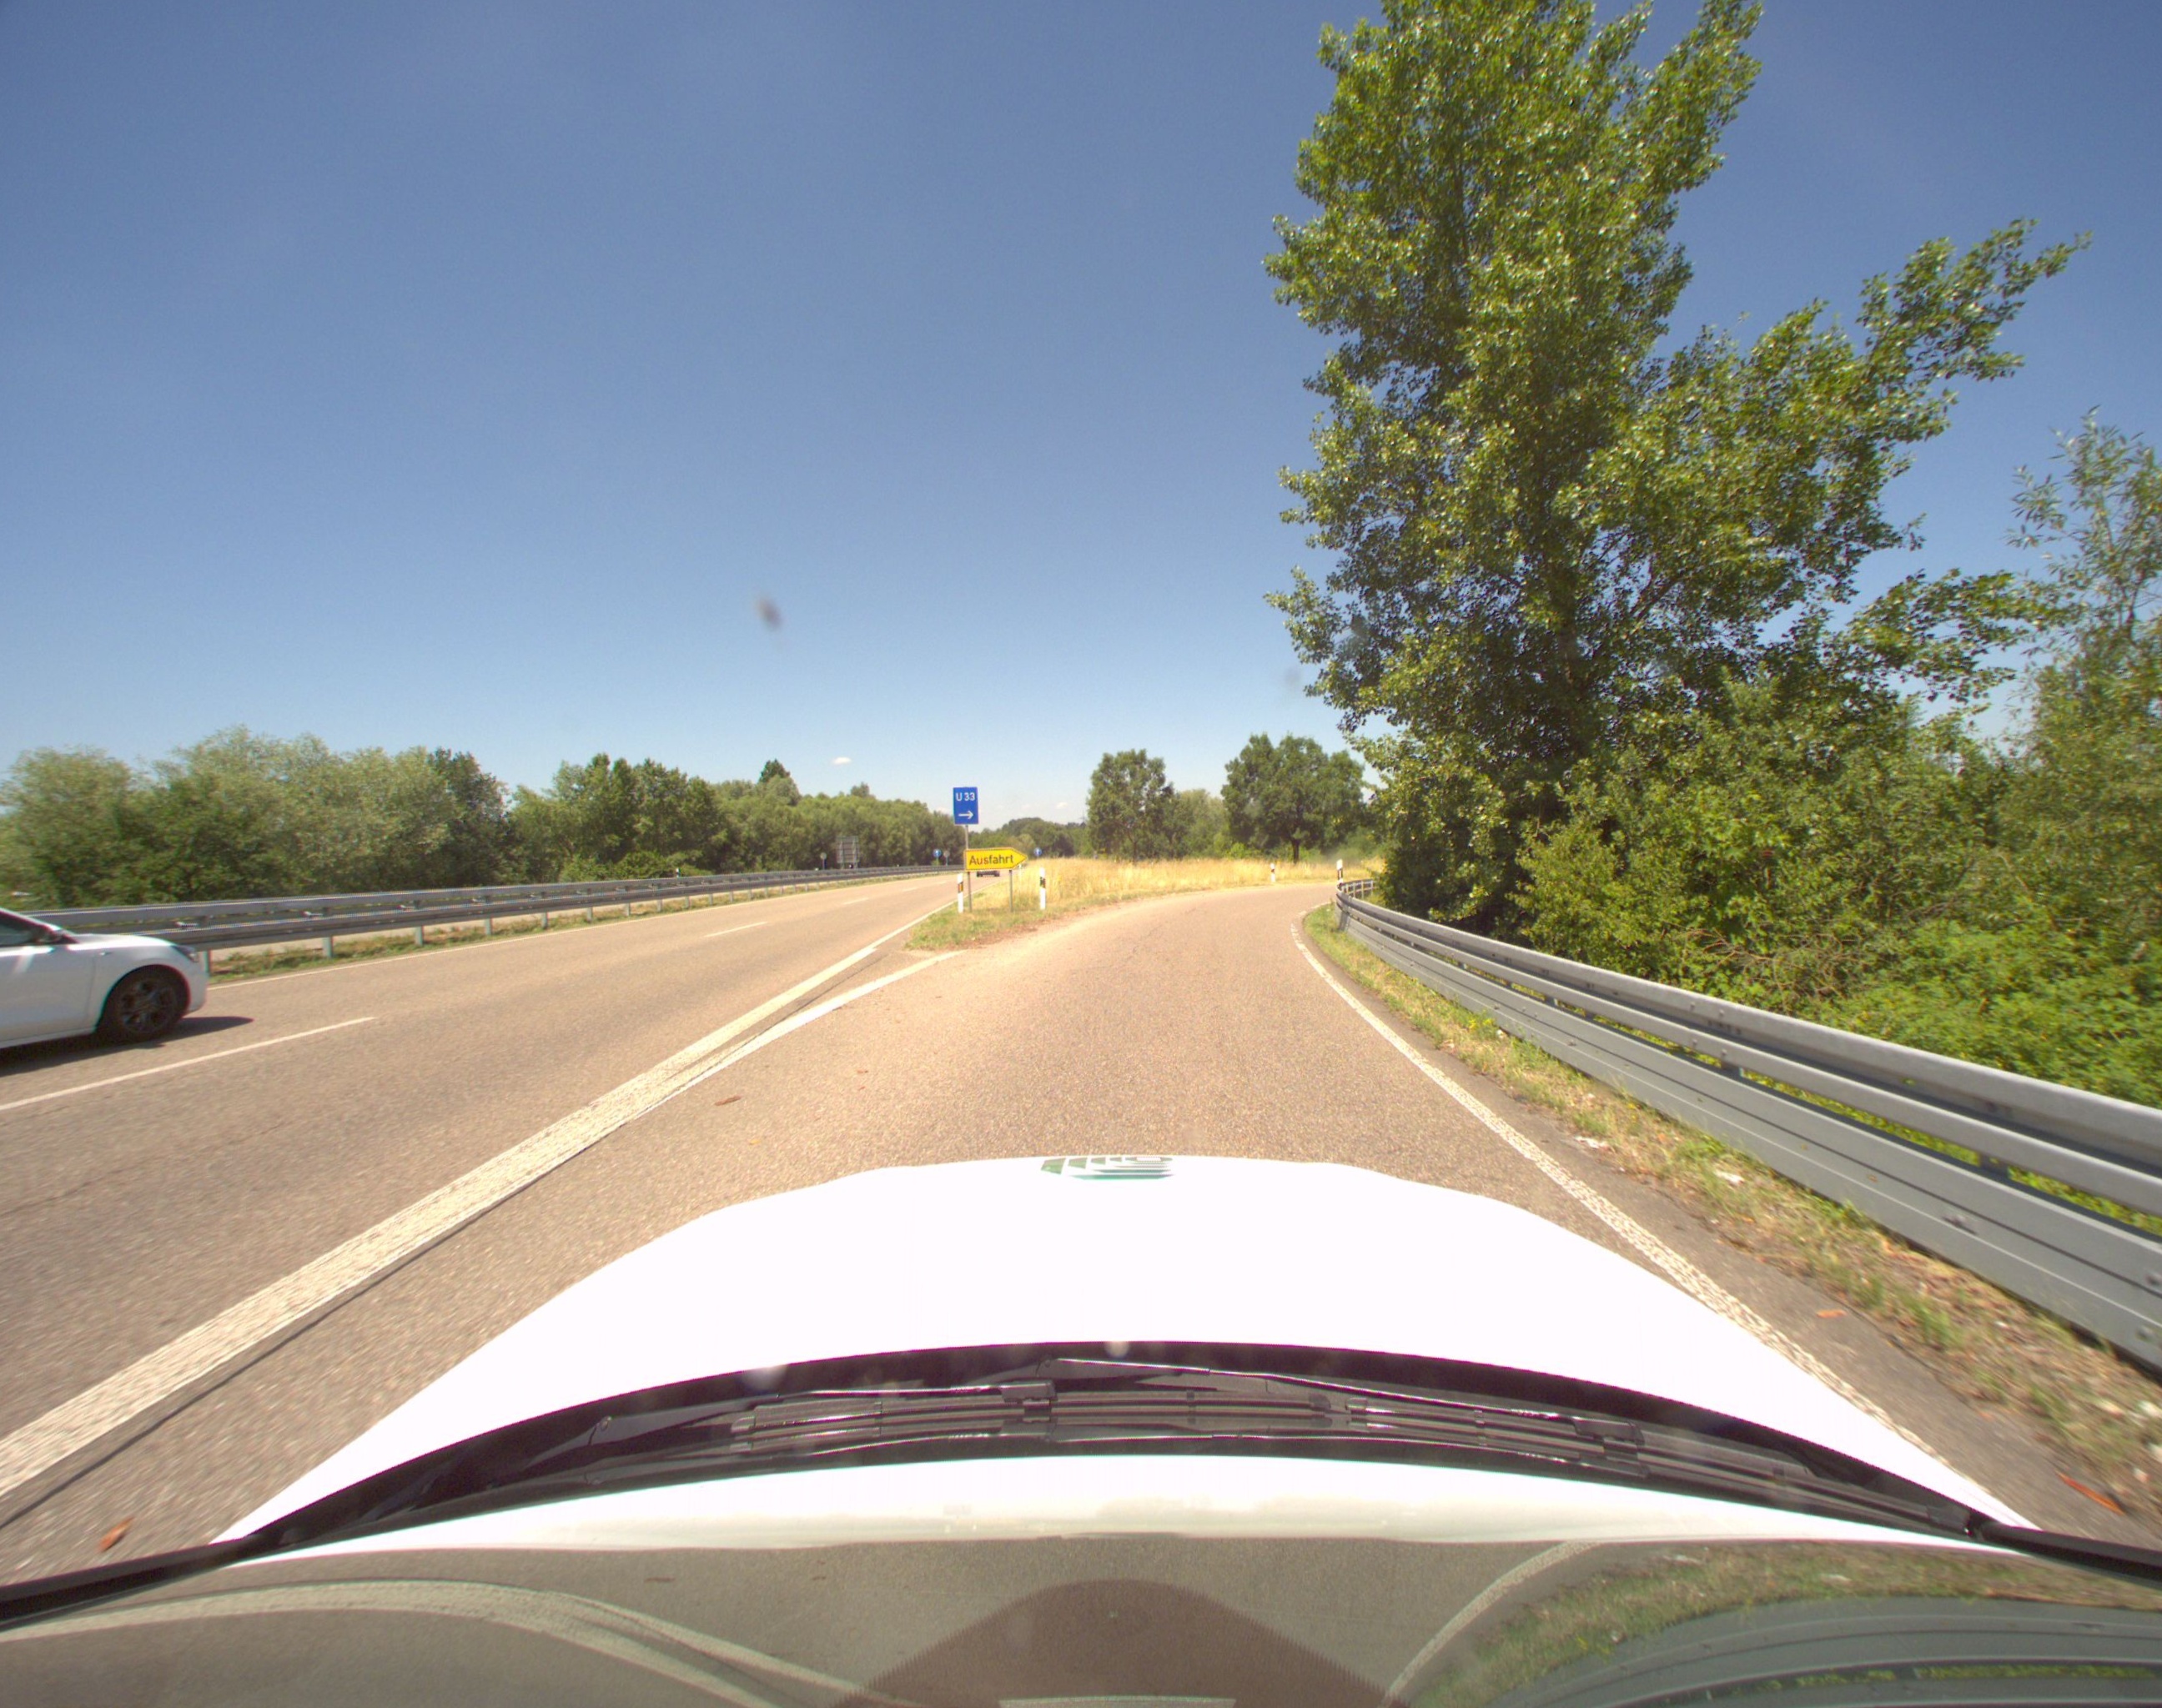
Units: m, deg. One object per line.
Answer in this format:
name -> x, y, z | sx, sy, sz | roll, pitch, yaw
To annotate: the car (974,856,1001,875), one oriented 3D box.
car -> -8.279, 1.007, 72.203 | 2.030, 1.673, 3.997 | 0, 0, -2
